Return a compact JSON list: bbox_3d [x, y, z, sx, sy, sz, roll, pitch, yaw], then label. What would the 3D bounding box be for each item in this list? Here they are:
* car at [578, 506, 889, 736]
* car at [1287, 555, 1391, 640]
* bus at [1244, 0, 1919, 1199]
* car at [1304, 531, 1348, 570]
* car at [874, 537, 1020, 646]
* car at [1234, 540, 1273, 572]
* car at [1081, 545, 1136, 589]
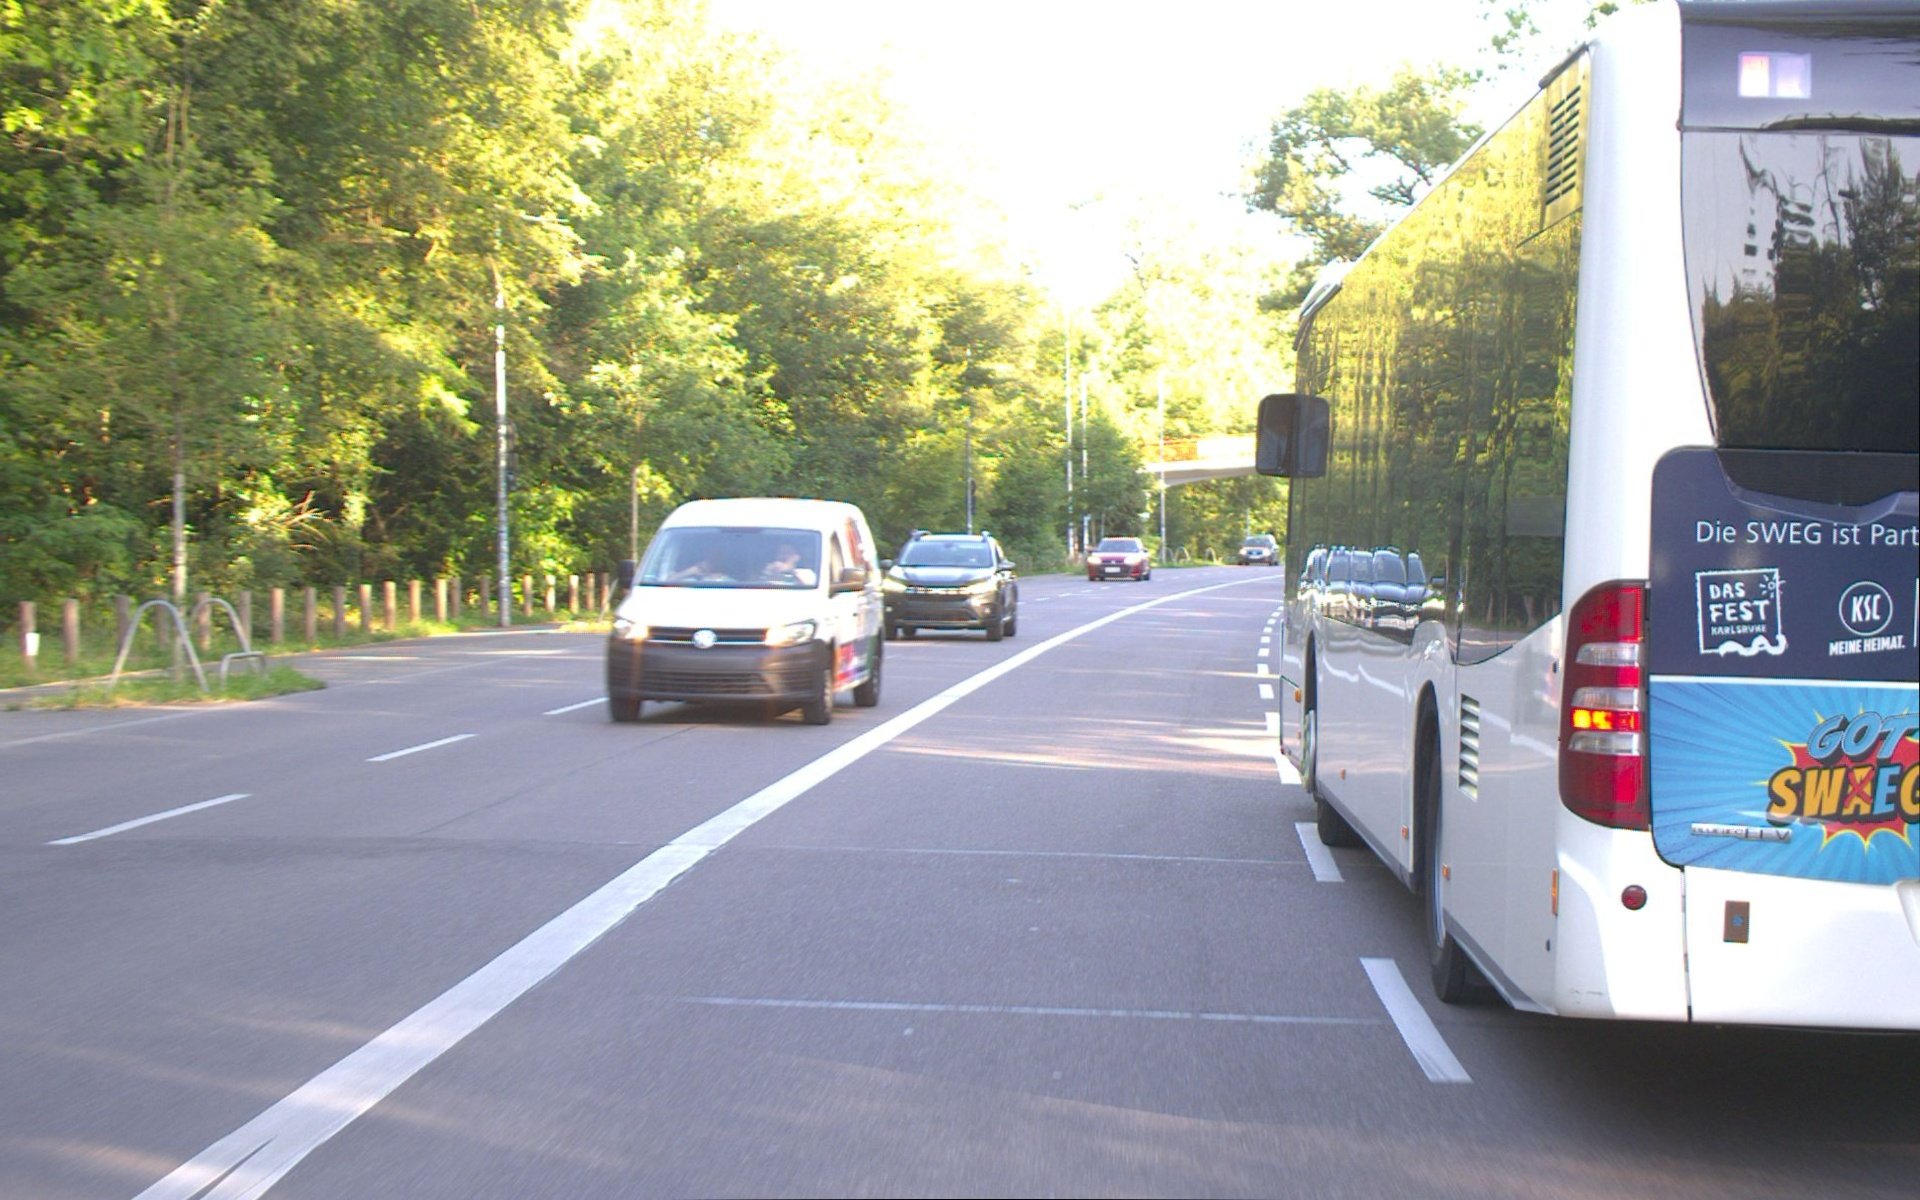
[{"bbox_3d":[-1.788,0.121,28.704,1.906,1.750,4.799,0,1,5],"label":"car"},{"bbox_3d":[6.691,-0.070,60.986,1.728,1.436,4.089,1,1,5],"label":"car"},{"bbox_3d":[2.885,-0.281,14.026,2.704,3.211,12.278,1,1,2],"label":"bus"},{"bbox_3d":[18.895,-2.544,177.429,2.207,1.954,4.912,1,1,6],"label":"car"},{"bbox_3d":[-0.151,-0.152,50.610,1.805,1.539,4.089,0,1,5],"label":"car"},{"bbox_3d":[14.945,-2.248,174.918,1.800,1.594,3.999,1,1,7],"label":"car"},{"bbox_3d":[5.089,-1.144,117.900,1.823,1.457,4.925,0,1,3],"label":"car"}]
